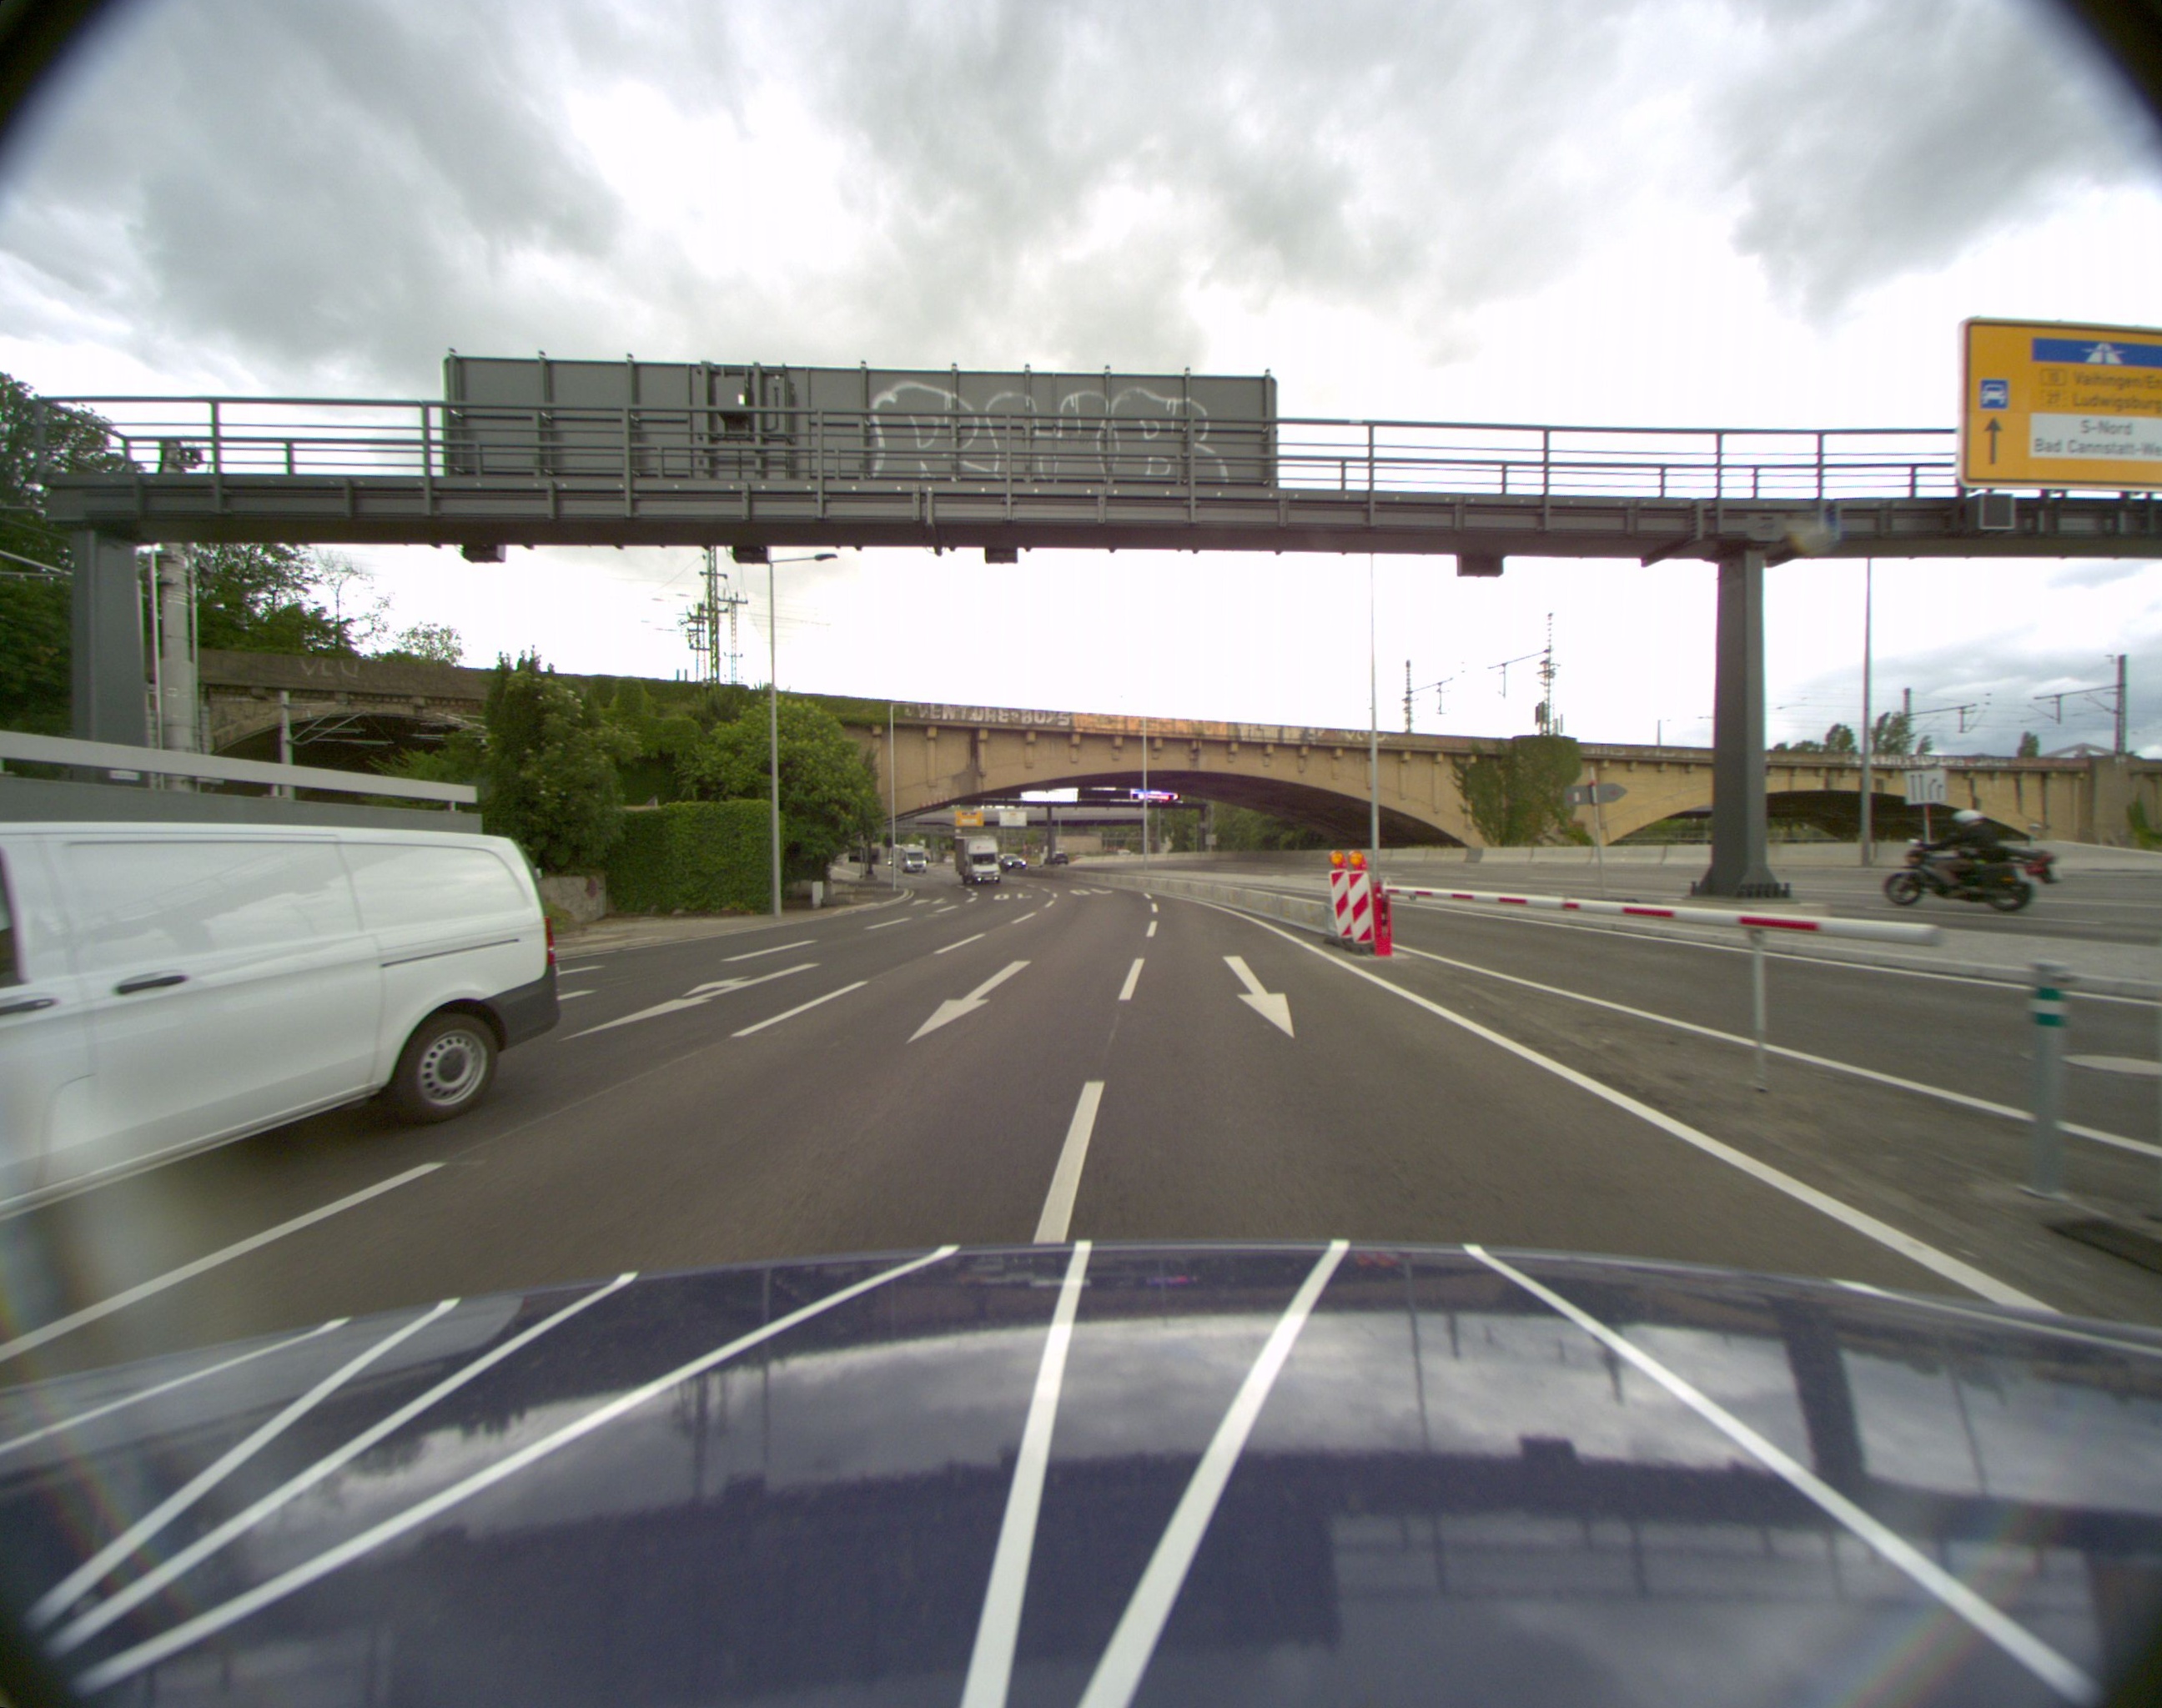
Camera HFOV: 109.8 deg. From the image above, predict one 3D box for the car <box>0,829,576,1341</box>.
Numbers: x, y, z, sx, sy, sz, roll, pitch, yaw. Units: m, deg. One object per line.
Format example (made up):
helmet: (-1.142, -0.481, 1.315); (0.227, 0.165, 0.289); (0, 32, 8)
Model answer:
car: (-5.173, 0.928, 3.320); (1.998, 1.978, 5.201); (-2, 1, 6)

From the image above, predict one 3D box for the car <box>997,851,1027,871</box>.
car: (-6.583, 0.669, 72.064); (1.870, 1.827, 4.199); (-2, 0, -19)

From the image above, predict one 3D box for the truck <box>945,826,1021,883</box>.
truck: (-7.246, 0.074, 54.840); (3.037, 3.567, 8.935); (-5, 1, -21)

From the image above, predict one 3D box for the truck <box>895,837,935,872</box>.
truck: (-18.253, 0.024, 83.055); (2.578, 3.548, 9.098); (-3, 1, -23)

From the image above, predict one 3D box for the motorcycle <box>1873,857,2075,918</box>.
motorcycle: (15.206, 0.533, 13.075); (0.666, 0.911, 2.394); (-3, 0, 1)

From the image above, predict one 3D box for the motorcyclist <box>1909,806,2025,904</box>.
motorcyclist: (15.182, 0.018, 13.058); (0.666, 1.596, 1.103); (-3, 0, 1)

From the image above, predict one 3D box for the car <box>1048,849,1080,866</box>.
car: (-1.967, 0.418, 86.658); (2.002, 1.575, 4.129); (-5, 0, -25)
